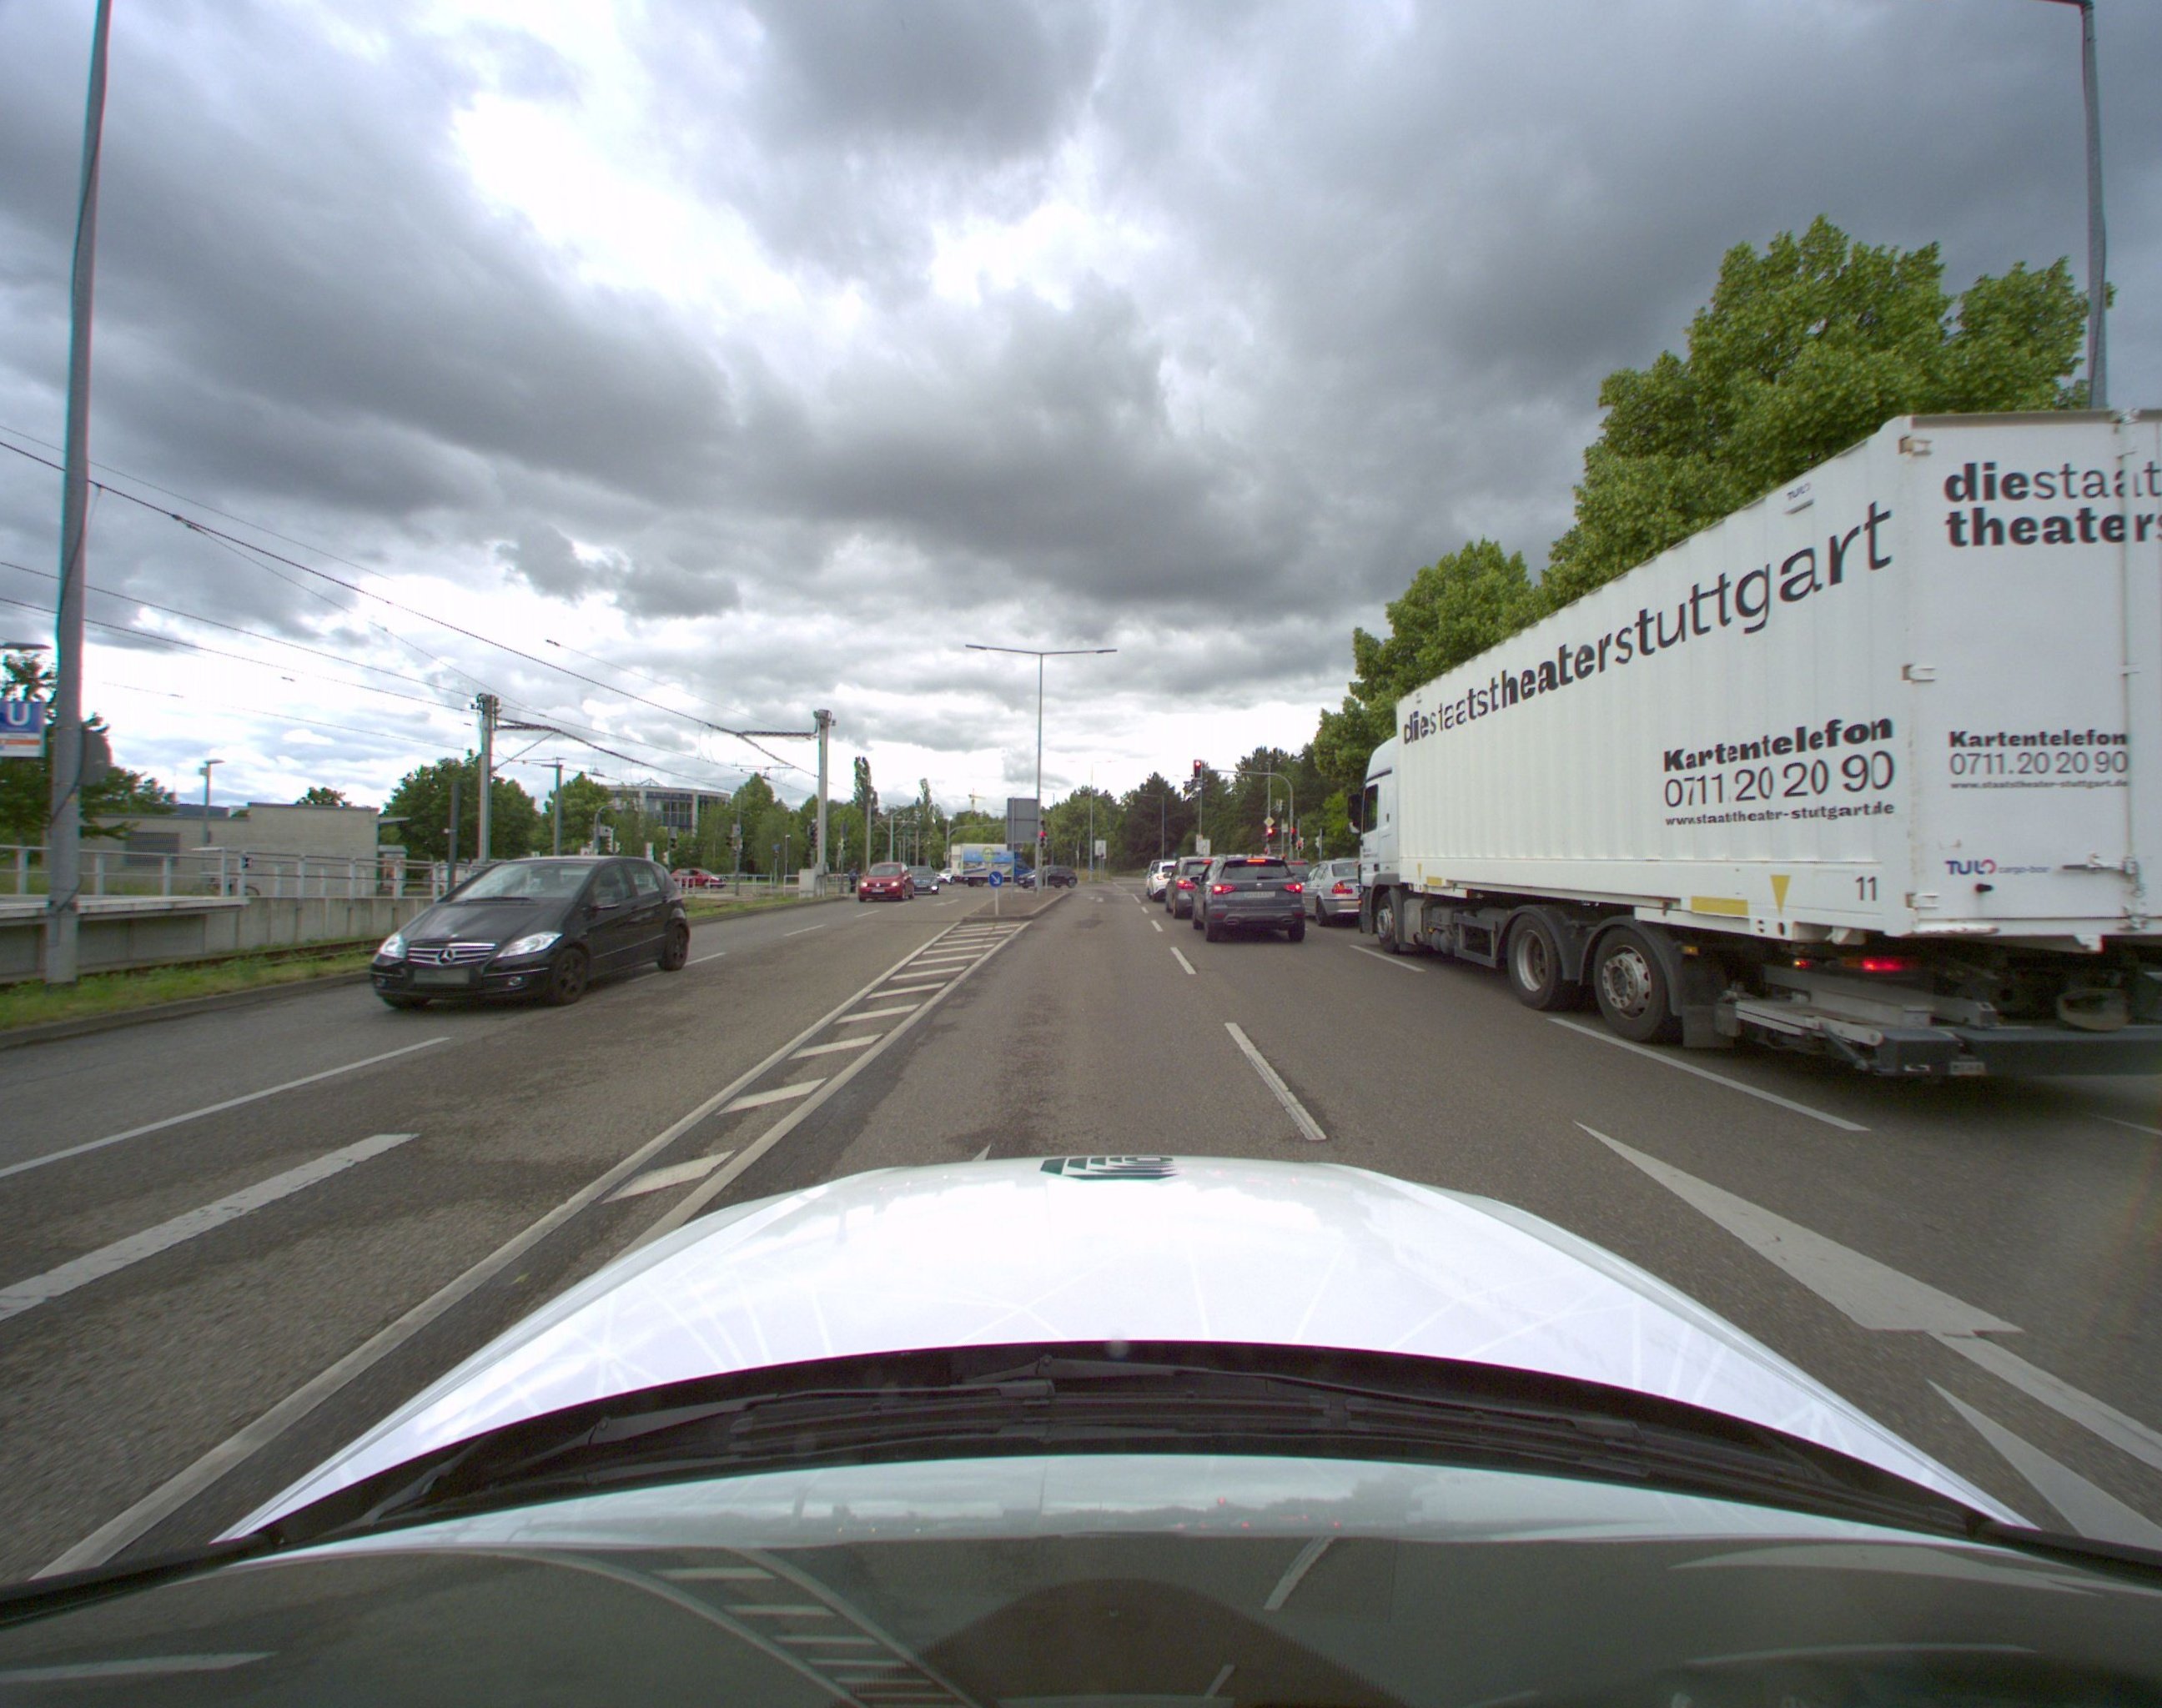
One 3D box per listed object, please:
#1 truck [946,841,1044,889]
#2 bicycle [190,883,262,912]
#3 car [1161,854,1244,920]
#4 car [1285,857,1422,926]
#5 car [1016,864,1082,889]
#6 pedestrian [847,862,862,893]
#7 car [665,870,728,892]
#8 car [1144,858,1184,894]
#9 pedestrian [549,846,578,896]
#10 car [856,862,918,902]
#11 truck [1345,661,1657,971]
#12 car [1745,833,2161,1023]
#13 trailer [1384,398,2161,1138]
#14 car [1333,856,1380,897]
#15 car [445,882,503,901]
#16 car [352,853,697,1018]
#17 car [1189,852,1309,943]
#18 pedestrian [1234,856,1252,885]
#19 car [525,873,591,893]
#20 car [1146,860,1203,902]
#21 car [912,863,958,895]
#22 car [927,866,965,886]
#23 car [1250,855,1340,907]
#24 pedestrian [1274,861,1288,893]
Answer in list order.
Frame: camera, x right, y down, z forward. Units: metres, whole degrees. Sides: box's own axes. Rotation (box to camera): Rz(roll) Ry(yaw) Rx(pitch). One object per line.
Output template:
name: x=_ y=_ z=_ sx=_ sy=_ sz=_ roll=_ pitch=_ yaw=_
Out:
truck: x=-6.789 y=0.814 z=64.859 sx=7.282 sy=3.599 sz=2.667 roll=-1 pitch=0 yaw=-29
bicycle: x=-31.783 y=1.601 z=30.311 sx=1.807 sy=1.015 sz=0.406 roll=0 pitch=-1 yaw=-41
car: x=3.062 y=0.786 z=21.214 sx=1.791 sy=1.523 sz=4.192 roll=-1 pitch=0 yaw=4
car: x=5.980 y=0.766 z=18.395 sx=1.805 sy=1.354 sz=4.119 roll=-1 pitch=-1 yaw=2
car: x=-2.077 y=1.426 z=52.402 sx=3.943 sy=1.496 sz=1.586 roll=-1 pitch=0 yaw=-23
pedestrian: x=-11.946 y=1.239 z=42.906 sx=0.349 sy=1.556 sz=0.657 roll=0 pitch=2 yaw=36
car: x=-28.403 y=2.019 z=60.214 sx=3.961 sy=1.517 sz=1.738 roll=-1 pitch=-2 yaw=11
car: x=3.583 y=0.949 z=35.422 sx=1.529 sy=1.504 sz=2.671 roll=-1 pitch=-1 yaw=2
pedestrian: x=-19.262 y=0.624 z=30.304 sx=0.570 sy=1.827 sz=0.793 roll=0 pitch=-1 yaw=-2
car: x=-7.905 y=1.118 z=33.588 sx=1.698 sy=1.488 sz=4.083 roll=-1 pitch=0 yaw=-2
truck: x=5.733 y=-0.465 z=11.895 sx=2.560 sy=3.705 sz=4.109 roll=-1 pitch=0 yaw=3
car: x=8.815 y=0.600 z=8.334 sx=1.564 sy=1.571 sz=3.060 roll=1 pitch=1 yaw=1
trailer: x=5.539 y=-0.449 z=7.964 sx=2.555 sy=3.705 sz=7.770 roll=-1 pitch=0 yaw=3
car: x=11.964 y=0.918 z=35.189 sx=1.687 sy=1.638 sz=4.266 roll=1 pitch=0 yaw=22
car: x=-44.536 y=2.780 z=59.747 sx=3.264 sy=1.310 sz=1.556 roll=-1 pitch=-1 yaw=8
car: x=-6.289 y=0.802 z=9.794 sx=1.721 sy=1.573 sz=3.703 roll=-1 pitch=0 yaw=-3
car: x=3.067 y=0.741 z=15.588 sx=1.691 sy=1.486 sz=4.003 roll=-1 pitch=0 yaw=3
pedestrian: x=8.818 y=0.887 z=44.280 sx=0.861 sy=1.560 sz=0.518 roll=-1 pitch=0 yaw=0
car: x=-37.655 y=2.074 z=58.634 sx=3.963 sy=1.377 sz=1.522 roll=-1 pitch=-1 yaw=9
car: x=3.386 y=0.955 z=30.166 sx=1.715 sy=1.422 sz=4.358 roll=-1 pitch=-1 yaw=2
car: x=-7.383 y=1.242 z=41.555 sx=1.687 sy=1.439 sz=4.541 roll=-1 pitch=0 yaw=-2
car: x=-12.204 y=1.964 z=73.791 sx=1.761 sy=1.507 sz=3.765 roll=0 pitch=2 yaw=19
car: x=6.388 y=0.787 z=24.752 sx=1.818 sy=1.435 sz=4.215 roll=-1 pitch=-1 yaw=3
pedestrian: x=9.140 y=1.051 z=37.272 sx=0.607 sy=1.453 sz=0.355 roll=-1 pitch=-1 yaw=10
